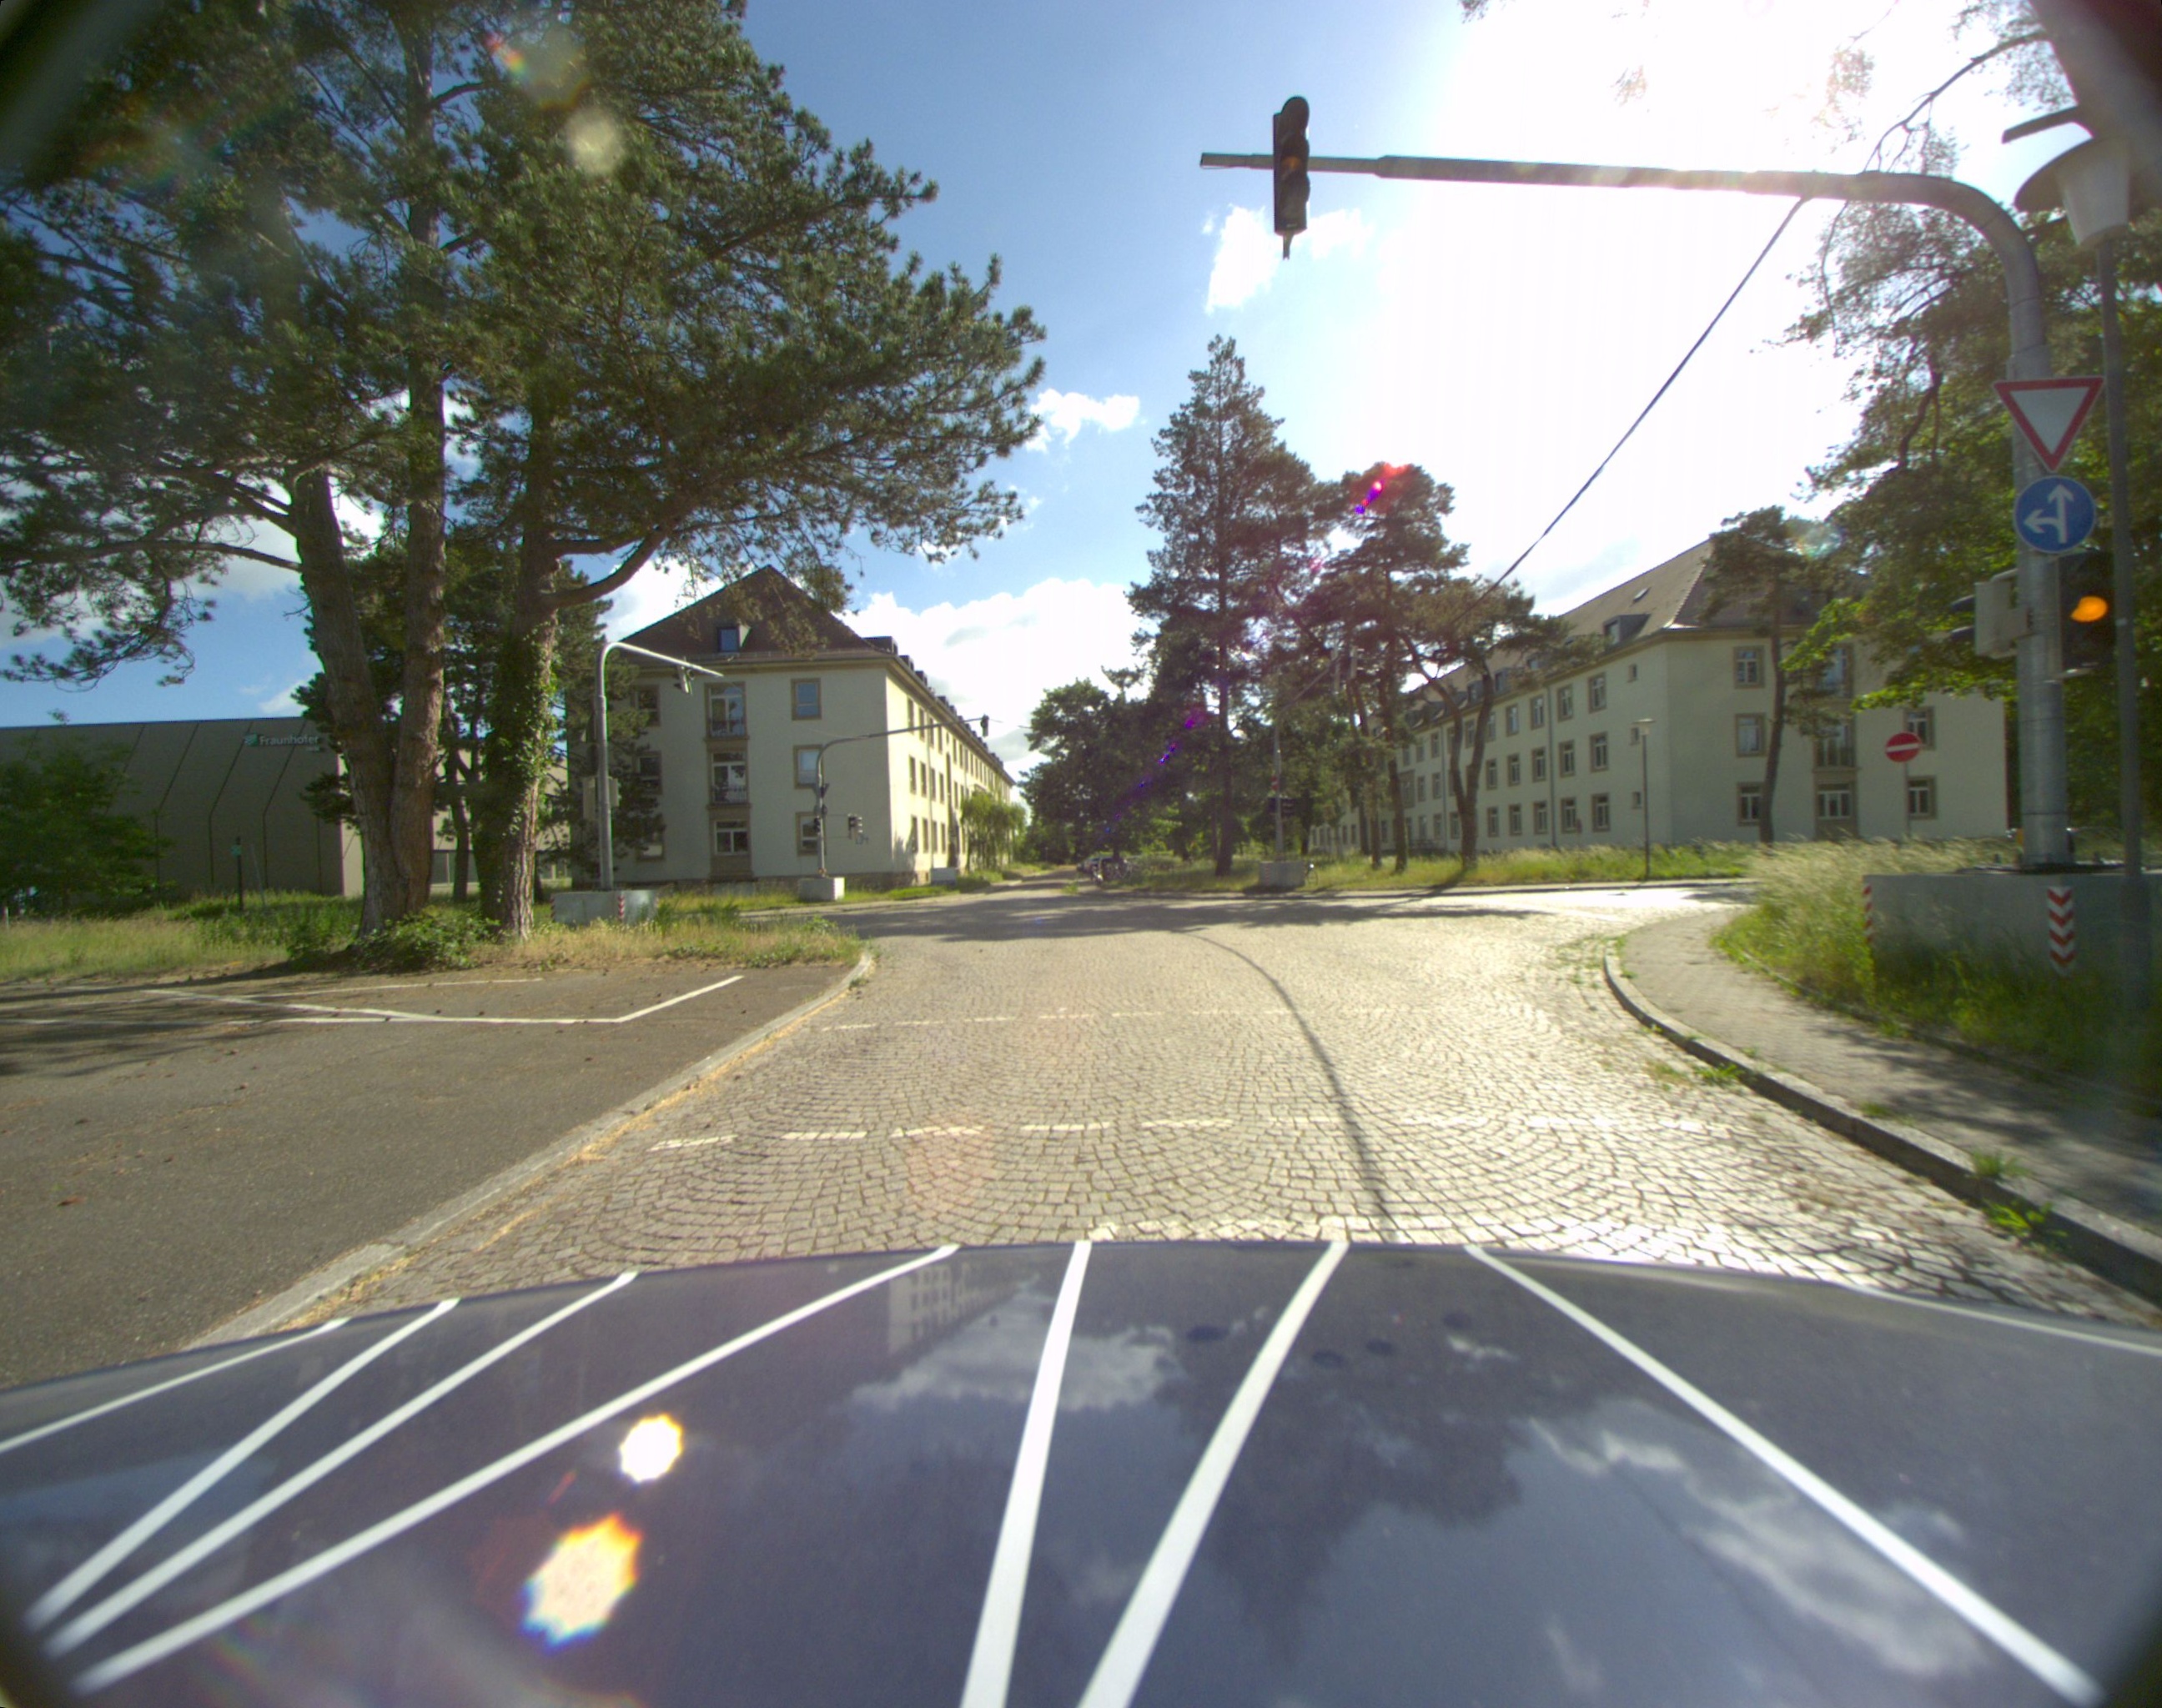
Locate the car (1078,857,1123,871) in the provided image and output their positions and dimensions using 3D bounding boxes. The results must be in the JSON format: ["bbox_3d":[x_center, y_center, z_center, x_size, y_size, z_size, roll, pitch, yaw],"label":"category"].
[{"bbox_3d":[1.896,1.011,75.867,4.227,1.294,1.816,-2,1,-9],"label":"car"}]

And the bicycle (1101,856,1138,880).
[{"bbox_3d":[2.326,0.857,46.172,2.114,1.276,0.621,-4,1,-4],"label":"bicycle"}]

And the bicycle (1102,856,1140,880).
[{"bbox_3d":[2.384,0.853,45.328,2.114,1.276,0.621,-4,1,-4],"label":"bicycle"}]

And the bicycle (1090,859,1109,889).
[{"bbox_3d":[0.901,0.966,37.169,0.621,1.342,2.114,-4,1,-4],"label":"bicycle"}]

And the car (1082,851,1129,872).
[{"bbox_3d":[2.331,0.684,72.709,4.227,1.903,1.816,-2,1,-9],"label":"car"}]

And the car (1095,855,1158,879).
[{"bbox_3d":[3.103,0.855,52.327,4.044,1.493,1.817,-2,1,-7],"label":"car"}]

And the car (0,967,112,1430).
[{"bbox_3d":[-5.659,1.095,1.677,4.548,1.413,1.894,0,1,-1],"label":"car"}]

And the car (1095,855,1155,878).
[{"bbox_3d":[3.163,0.866,55.351,4.044,1.514,1.817,-2,1,-7],"label":"car"}]

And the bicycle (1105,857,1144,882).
[{"bbox_3d":[2.494,0.860,43.580,2.114,1.276,0.621,-4,1,-5],"label":"bicycle"}]

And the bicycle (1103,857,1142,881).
[{"bbox_3d":[2.428,0.856,44.425,2.114,1.276,0.621,-4,1,-4],"label":"bicycle"}]

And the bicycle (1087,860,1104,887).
[{"bbox_3d":[0.758,0.985,39.346,0.621,1.276,2.114,-4,0,-4],"label":"bicycle"}]

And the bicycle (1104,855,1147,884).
[{"bbox_3d":[2.361,0.838,40.501,2.114,1.276,0.621,-7,1,-2],"label":"bicycle"}]

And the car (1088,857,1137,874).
[{"bbox_3d":[2.746,0.987,67.091,4.044,1.355,1.817,-2,1,-6],"label":"car"}]

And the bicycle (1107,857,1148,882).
[{"bbox_3d":[2.604,0.850,42.751,2.114,1.276,0.621,-4,1,-6],"label":"bicycle"}]

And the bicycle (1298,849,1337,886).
[{"bbox_3d":[8.657,0.478,27.893,0.621,1.276,2.114,-5,0,-1],"label":"bicycle"}]
